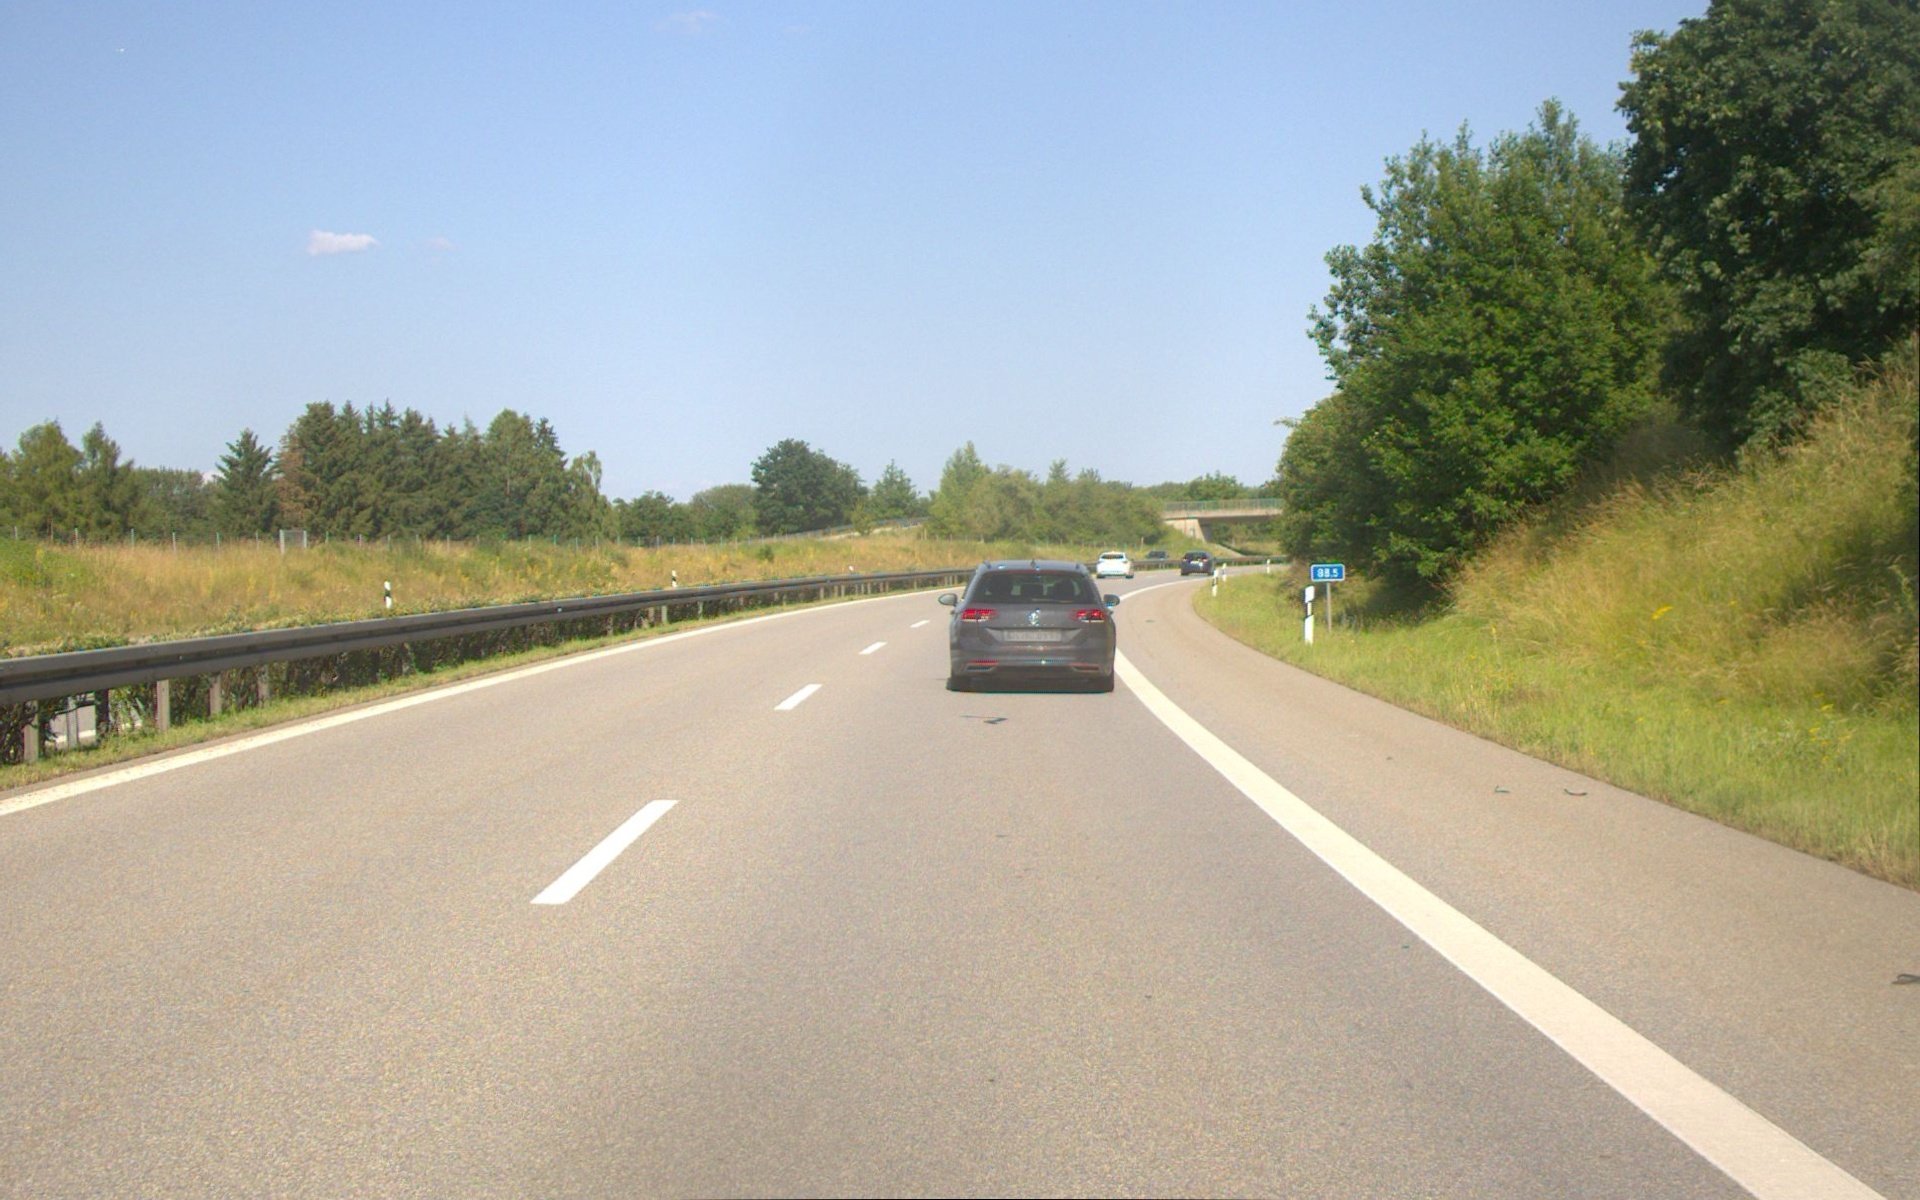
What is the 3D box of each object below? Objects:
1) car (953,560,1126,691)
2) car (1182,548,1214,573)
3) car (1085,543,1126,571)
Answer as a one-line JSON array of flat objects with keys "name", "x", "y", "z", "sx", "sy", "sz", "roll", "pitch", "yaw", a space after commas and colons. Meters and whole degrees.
[{"name": "car", "x": 0.898, "y": 0.270, "z": 38.050, "sx": 1.791, "sy": 1.340, "sz": 4.000, "roll": 1, "pitch": 0, "yaw": 2}, {"name": "car", "x": 14.195, "y": -2.357, "z": 204.877, "sx": 1.711, "sy": 1.382, "sz": 3.354, "roll": 1, "pitch": 0, "yaw": 7}, {"name": "car", "x": 7.763, "y": -2.295, "z": 183.382, "sx": 2.007, "sy": 1.340, "sz": 3.999, "roll": 1, "pitch": 0, "yaw": 5}]
